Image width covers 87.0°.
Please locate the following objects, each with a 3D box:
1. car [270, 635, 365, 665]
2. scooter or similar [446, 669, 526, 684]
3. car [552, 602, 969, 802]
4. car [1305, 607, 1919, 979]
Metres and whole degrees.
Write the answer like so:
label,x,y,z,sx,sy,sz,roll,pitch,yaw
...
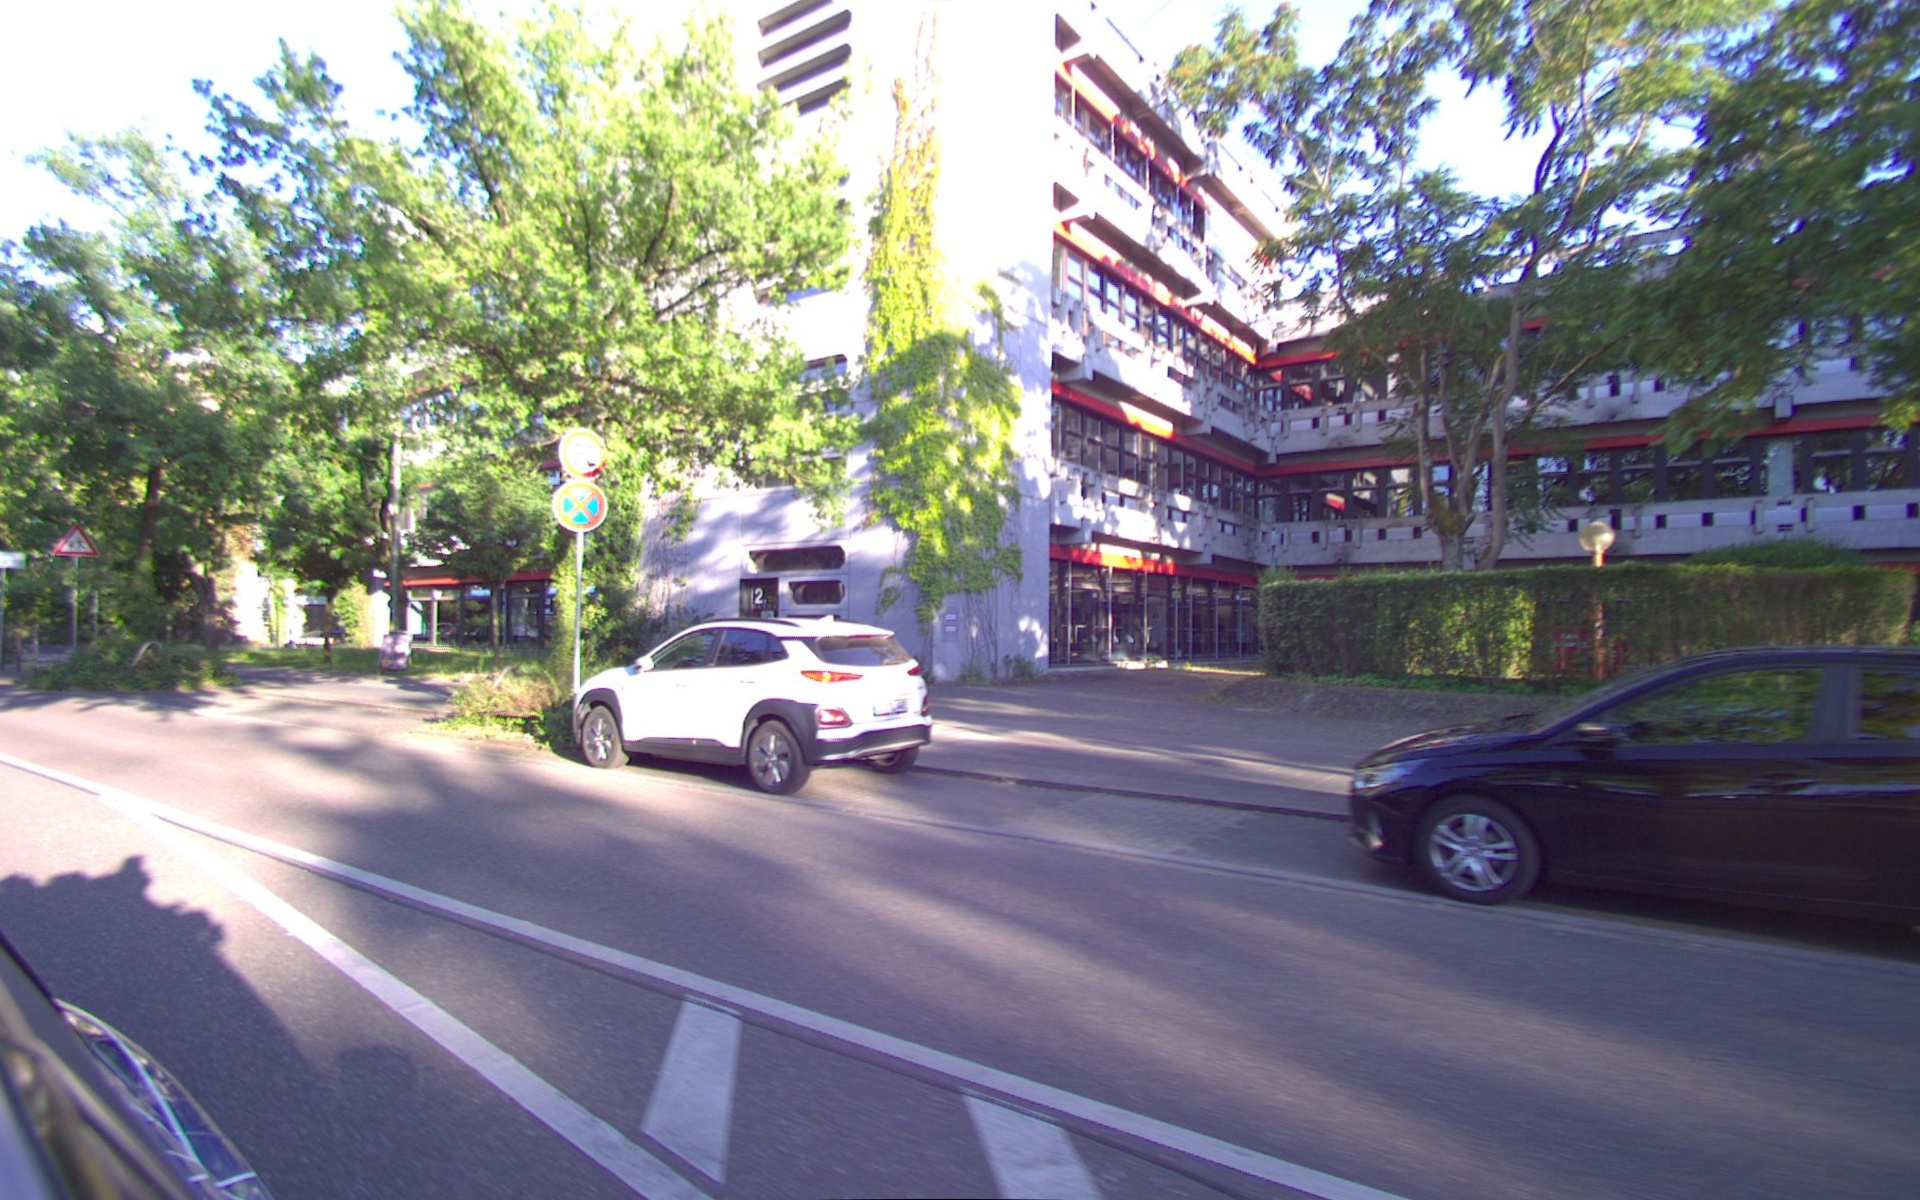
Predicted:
label,x,y,z,sx,sy,sz,roll,pitch,yaw
car,-34.188,2.644,53.941,1.767,1.460,3.930,2,-2,24
scooter or similar,-11.006,1.776,23.539,1.241,0.278,1.157,-1,-1,20
car,-2.108,0.887,10.235,4.138,1.628,1.787,-1,-2,35
car,4.232,0.868,5.508,4.138,1.628,1.764,-1,-1,35
